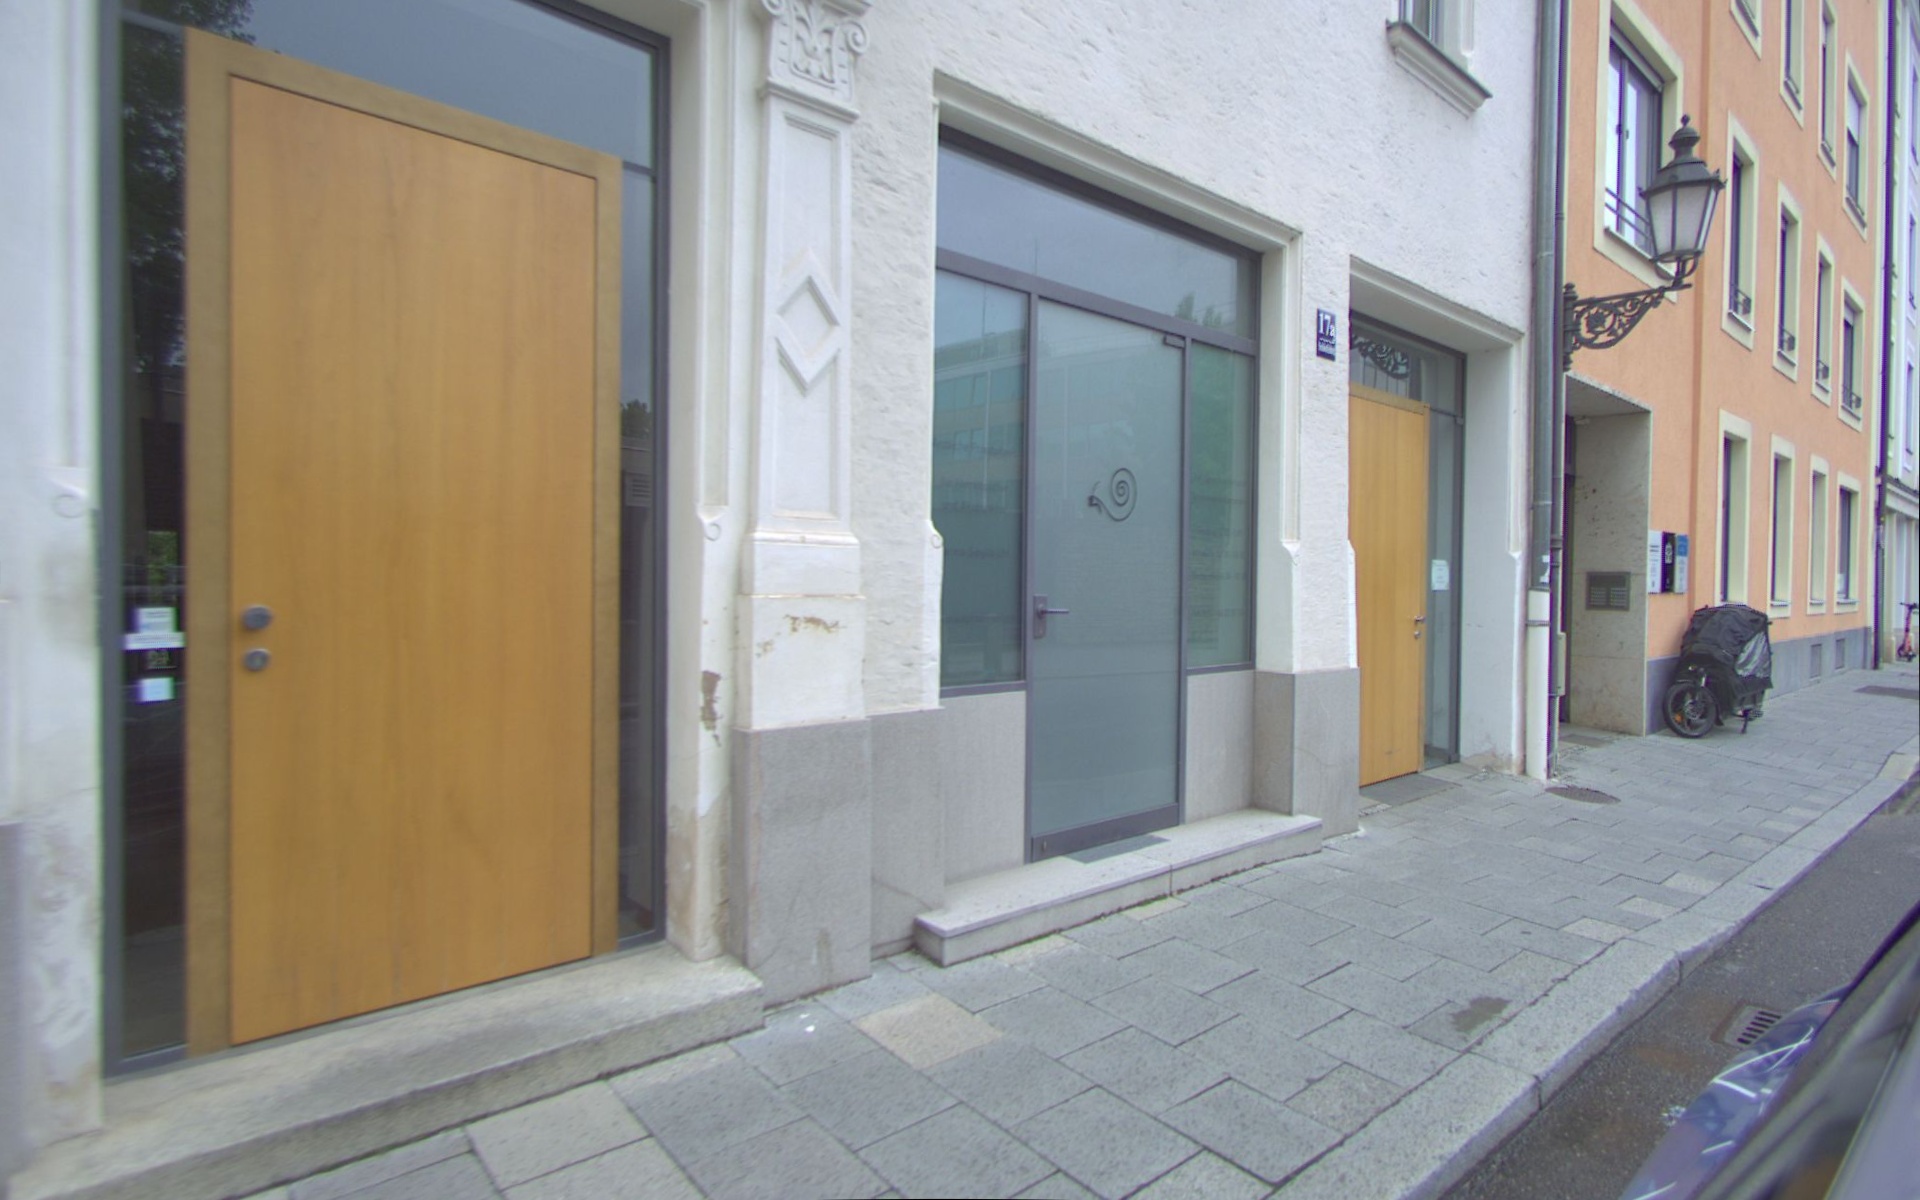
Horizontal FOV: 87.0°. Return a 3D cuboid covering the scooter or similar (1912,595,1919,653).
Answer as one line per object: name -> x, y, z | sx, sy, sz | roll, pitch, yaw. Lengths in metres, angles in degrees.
scooter or similar -> 21.454, 0.546, 22.279 | 0.463, 1.274, 1.260 | 4, 3, 35

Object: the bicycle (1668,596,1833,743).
bicycle -> 7.889, 0.631, 10.054 | 2.339, 1.254, 0.681 | 1, 5, -39
